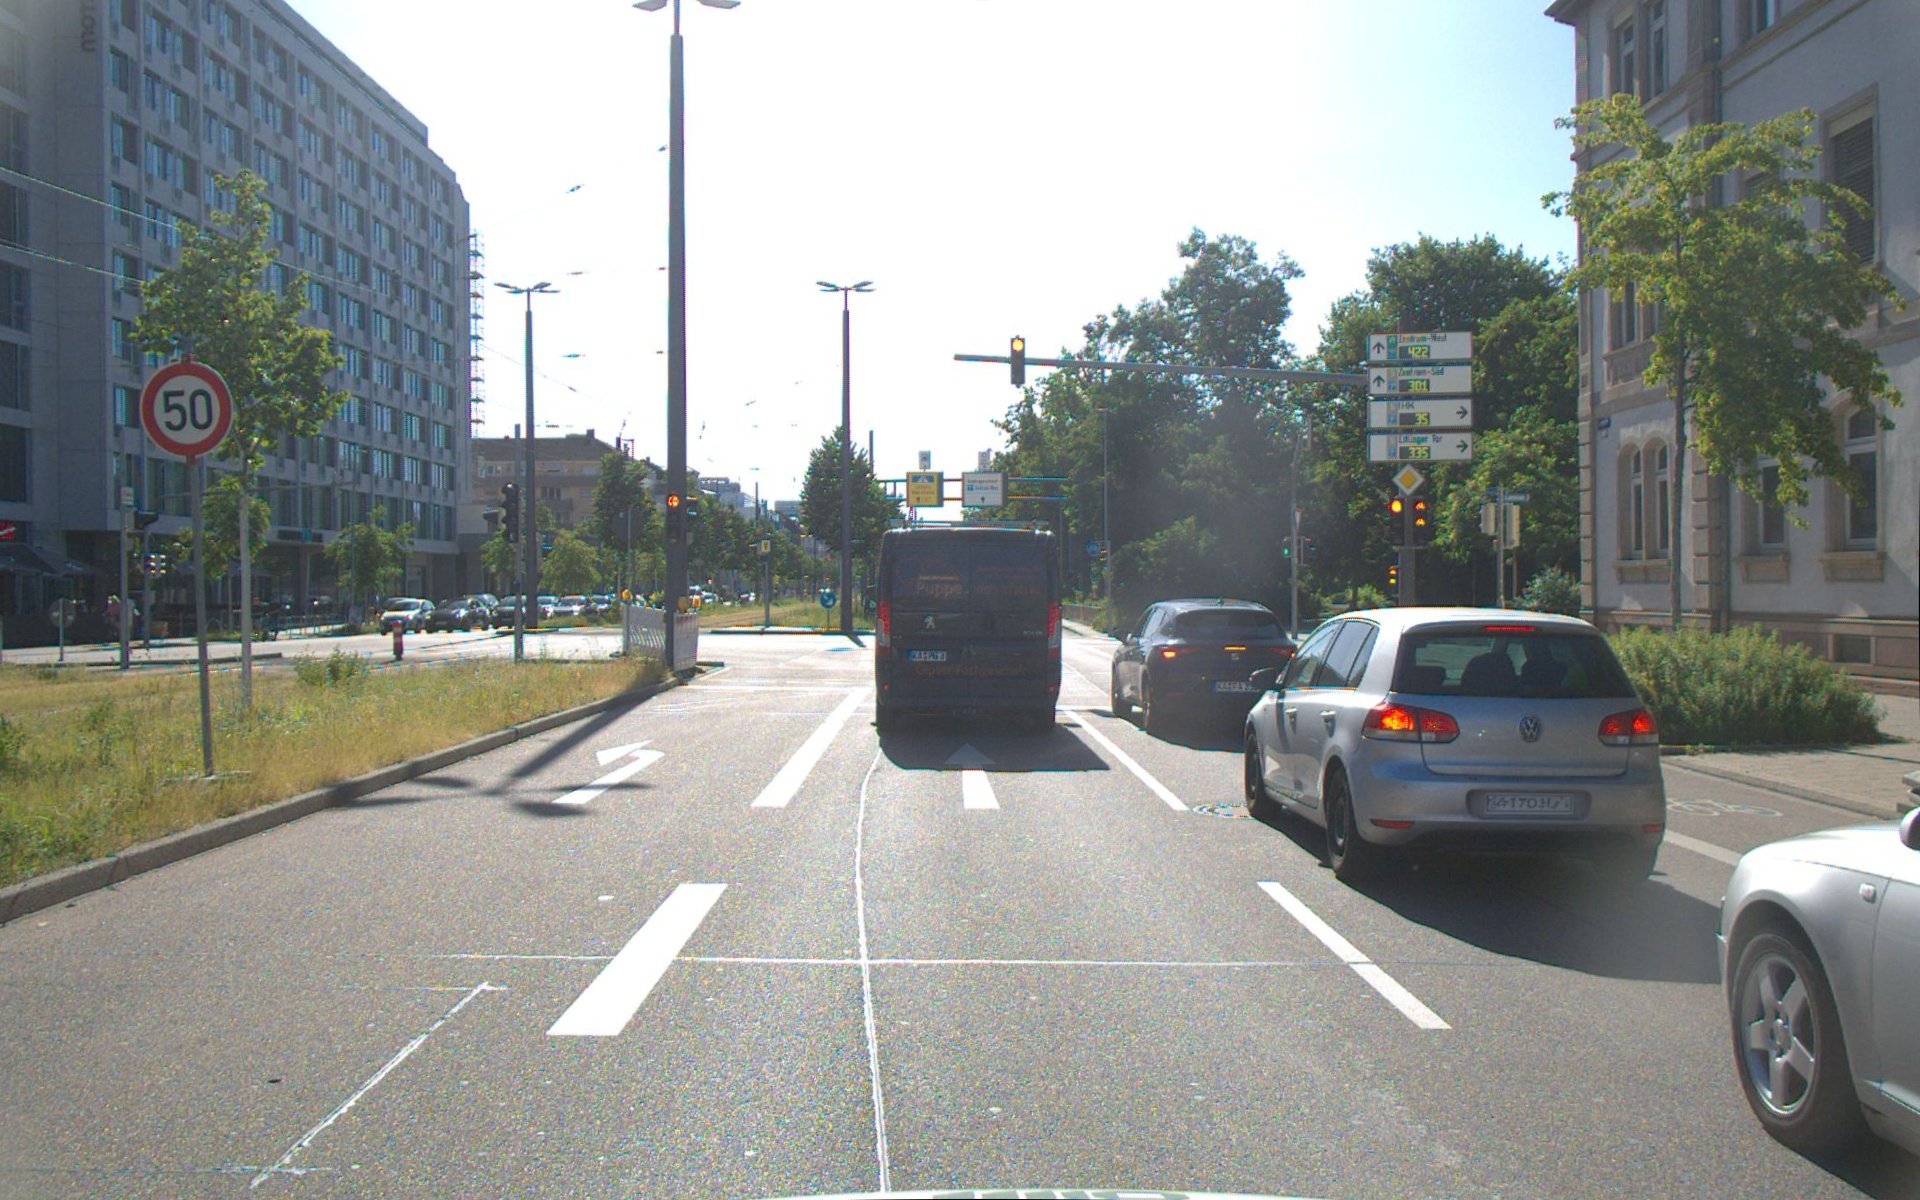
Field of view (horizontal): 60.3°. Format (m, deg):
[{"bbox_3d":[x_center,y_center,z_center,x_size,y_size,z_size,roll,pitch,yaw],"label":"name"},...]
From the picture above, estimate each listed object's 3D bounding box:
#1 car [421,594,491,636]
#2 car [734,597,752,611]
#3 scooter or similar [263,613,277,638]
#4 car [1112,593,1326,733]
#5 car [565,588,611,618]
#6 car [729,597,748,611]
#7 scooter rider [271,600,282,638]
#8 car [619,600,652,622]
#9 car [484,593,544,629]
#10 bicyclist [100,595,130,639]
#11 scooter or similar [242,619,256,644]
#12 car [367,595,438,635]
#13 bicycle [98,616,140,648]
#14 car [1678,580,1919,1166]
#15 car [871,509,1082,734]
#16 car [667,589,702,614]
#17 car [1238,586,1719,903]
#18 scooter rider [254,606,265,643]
[{"bbox_3d":[-21.532,0.620,70.798,1.753,1.680,4.000,-1,0,0],"label":"car"},{"bbox_3d":[-27.773,0.491,211.456,1.753,1.680,4.000,-1,0,0],"label":"car"},{"bbox_3d":[-27.167,1.009,65.155,0.224,0.964,0.767,-1,0,0],"label":"scooter or similar"},{"bbox_3d":[2.891,0.660,19.248,1.756,1.453,3.848,1,0,-2],"label":"car"},{"bbox_3d":[-21.516,0.158,95.759,1.753,1.680,4.000,-1,0,0],"label":"car"},{"bbox_3d":[-27.062,0.460,201.717,1.753,1.680,4.000,-1,0,0],"label":"car"},{"bbox_3d":[-26.960,0.756,65.257,0.335,1.478,0.239,-1,0,0],"label":"scooter rider"},{"bbox_3d":[-24.756,0.827,126.249,1.753,1.680,4.000,-1,0,0],"label":"car"},{"bbox_3d":[-21.245,0.504,78.930,1.753,1.680,4.000,-1,0,0],"label":"car"},{"bbox_3d":[-30.794,0.618,60.275,0.581,1.608,0.893,1,0,3],"label":"bicyclist"},{"bbox_3d":[-28.095,1.260,65.336,0.280,0.964,0.766,-1,0,-8],"label":"scooter or similar"},{"bbox_3d":[-24.600,0.651,73.146,1.753,1.680,4.000,-1,0,0],"label":"car"},{"bbox_3d":[-30.679,1.159,60.348,0.574,1.119,1.623,1,0,3],"label":"bicycle"},{"bbox_3d":[3.208,0.690,3.130,1.711,1.452,4.839,0,1,2],"label":"car"},{"bbox_3d":[0.113,0.190,19.444,2.173,2.307,4.483,1,1,-2],"label":"car"},{"bbox_3d":[-19.406,0.096,116.684,1.753,1.680,4.000,-1,0,0],"label":"car"},{"bbox_3d":[2.916,0.702,10.220,1.714,1.554,4.005,1,0,0],"label":"car"},{"bbox_3d":[-27.726,0.974,65.473,0.335,1.478,0.239,-1,0,0],"label":"scooter rider"}]
